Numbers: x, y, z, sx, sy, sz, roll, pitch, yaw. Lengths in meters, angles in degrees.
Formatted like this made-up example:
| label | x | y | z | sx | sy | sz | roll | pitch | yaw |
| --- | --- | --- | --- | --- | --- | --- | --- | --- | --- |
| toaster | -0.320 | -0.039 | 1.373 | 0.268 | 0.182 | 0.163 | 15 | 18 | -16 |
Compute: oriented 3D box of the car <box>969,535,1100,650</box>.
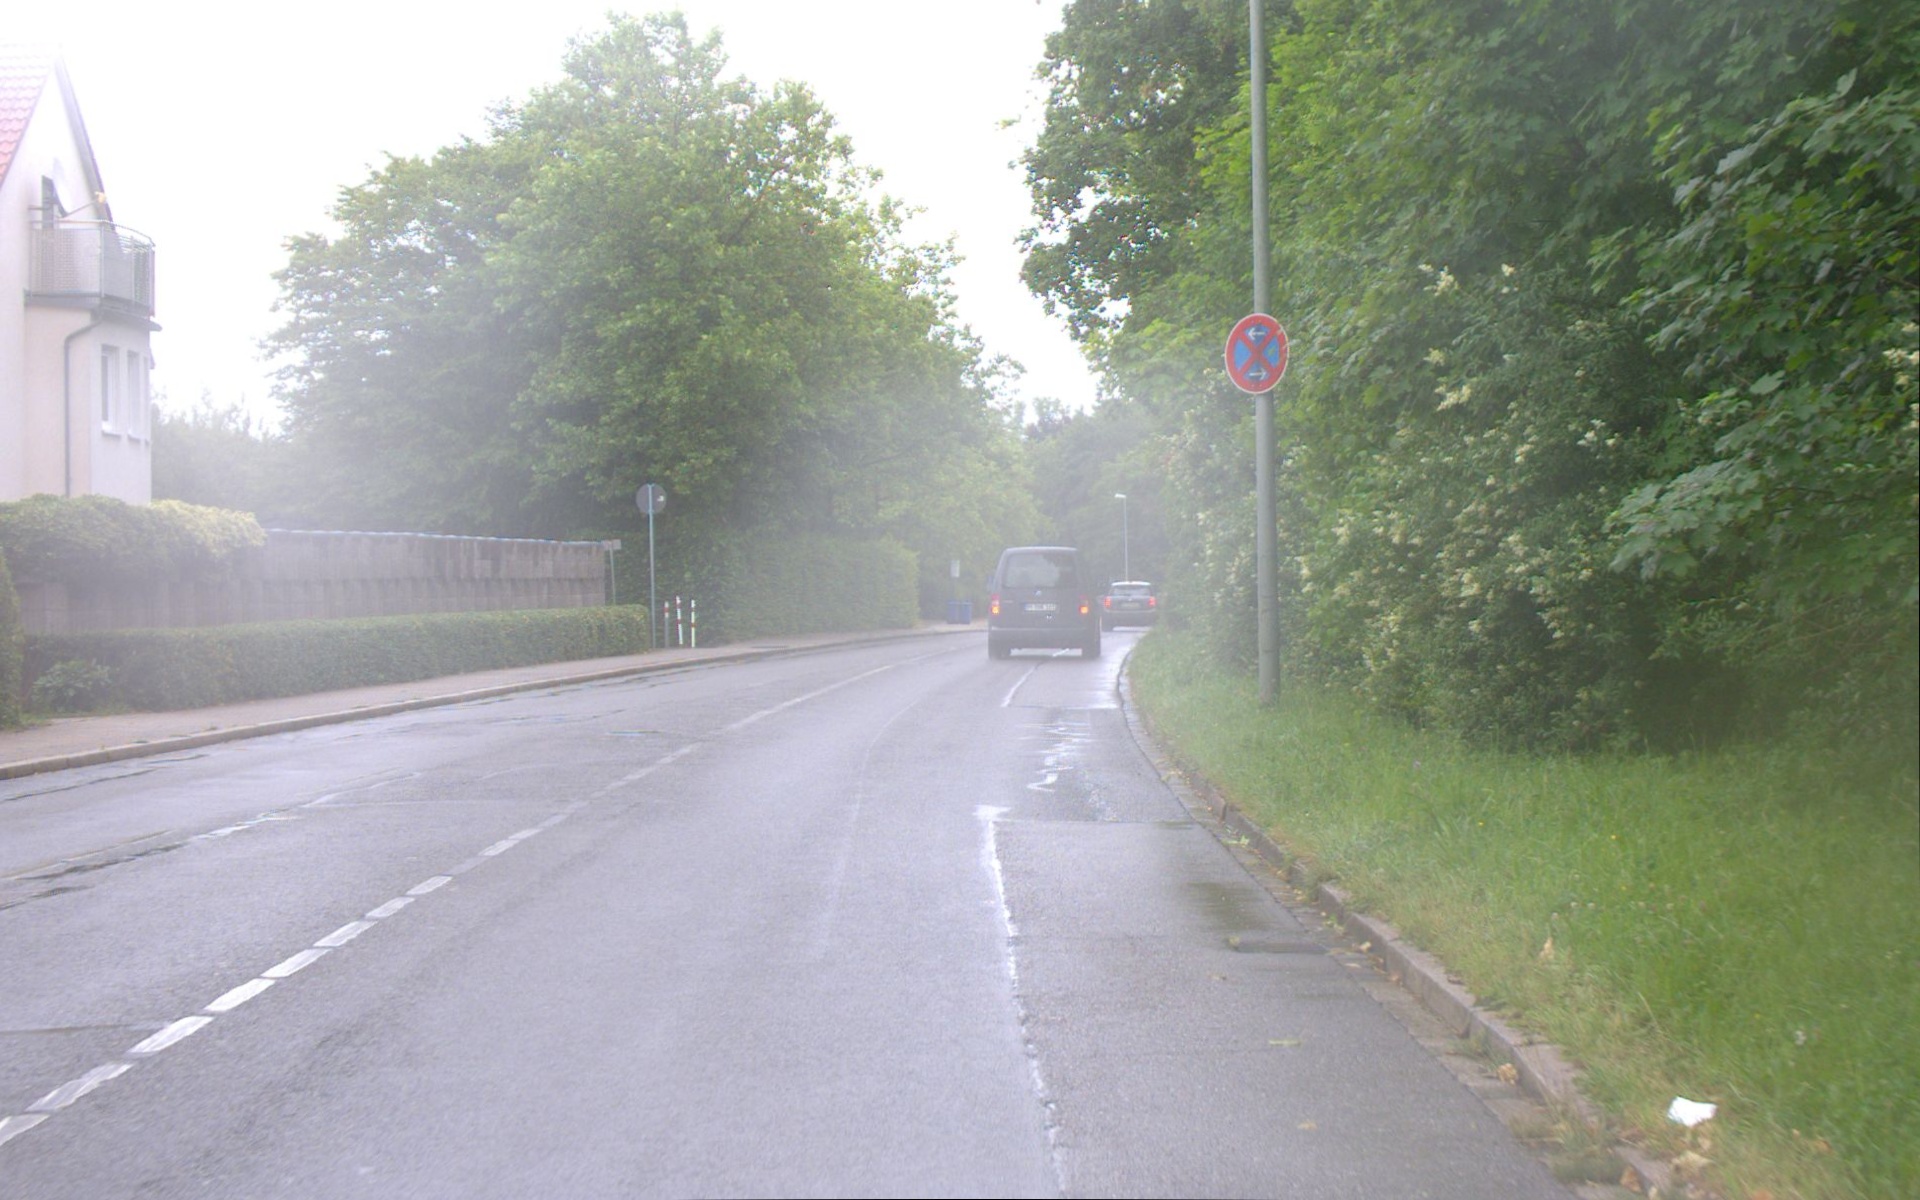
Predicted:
| label | x | y | z | sx | sy | sz | roll | pitch | yaw |
| --- | --- | --- | --- | --- | --- | --- | --- | --- | --- |
| car | 1.274 | -0.157 | 57.080 | 1.994 | 1.787 | 4.000 | 0 | 2 | 4 |

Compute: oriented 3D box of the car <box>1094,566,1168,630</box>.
| label | x | y | z | sx | sy | sz | roll | pitch | yaw |
| --- | --- | --- | --- | --- | --- | --- | --- | --- | --- |
| car | 5.025 | -0.065 | 100.413 | 1.950 | 1.744 | 3.999 | -1 | 1 | 5 |
